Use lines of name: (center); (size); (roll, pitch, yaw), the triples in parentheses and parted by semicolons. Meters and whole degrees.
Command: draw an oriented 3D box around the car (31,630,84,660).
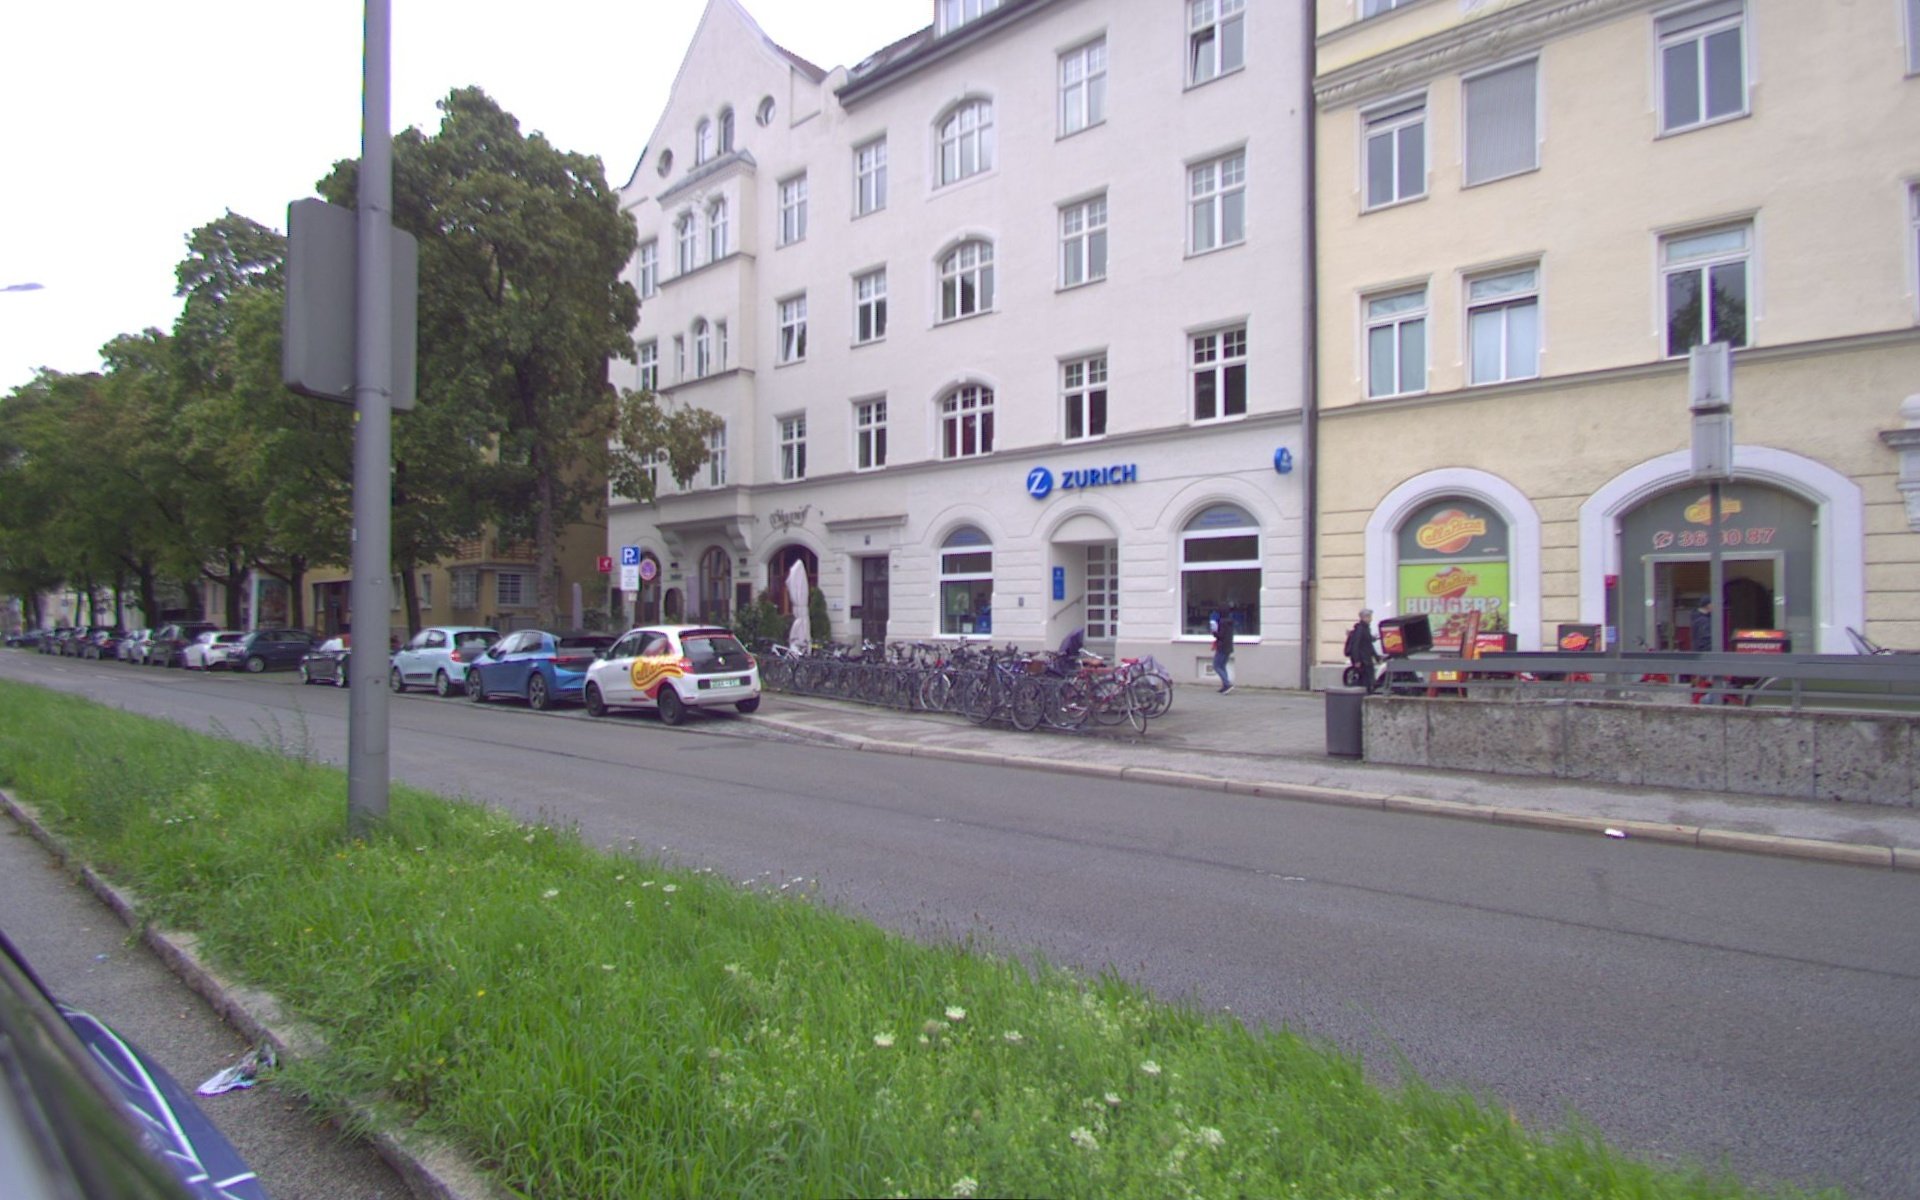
car: (-54.202, 2.688, 60.768); (4.436, 1.700, 1.854); (-2, -2, 41)

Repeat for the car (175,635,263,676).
car: (-27.130, 1.989, 37.006); (4.402, 1.413, 1.708); (-2, -2, 41)

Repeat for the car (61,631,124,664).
car: (-45.596, 2.469, 53.166); (4.768, 1.658, 1.859); (-2, -2, 41)

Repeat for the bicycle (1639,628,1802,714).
bicycle: (9.286, 0.846, 12.393); (1.544, 0.988, 0.468); (-2, -2, 42)

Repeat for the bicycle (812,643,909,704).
bicycle: (-1.895, 1.376, 19.163); (1.859, 1.124, 0.328); (-1, -2, 18)

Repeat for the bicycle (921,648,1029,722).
bicycle: (0.224, 1.313, 15.808); (1.667, 1.124, 0.328); (-1, -2, 18)

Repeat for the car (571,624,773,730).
car: (-5.003, 1.228, 17.335); (3.790, 1.597, 1.631); (-2, -2, 43)

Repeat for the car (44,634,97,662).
car: (-50.359, 2.696, 57.282); (4.490, 1.465, 1.674); (-2, -2, 41)

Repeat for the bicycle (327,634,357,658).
bicycle: (-31.635, 2.351, 51.833); (1.930, 1.231, 0.762); (-2, -2, 41)

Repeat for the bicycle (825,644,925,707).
bicycle: (-1.577, 1.373, 18.643); (1.859, 1.124, 0.328); (-1, -2, 18)

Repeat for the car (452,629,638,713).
car: (-8.480, 1.356, 20.533); (4.289, 1.518, 1.792); (-2, -2, 41)

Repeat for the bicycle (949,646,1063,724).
bicycle: (0.691, 1.262, 15.188); (1.667, 1.124, 0.365); (-1, -2, 18)

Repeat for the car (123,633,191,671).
car: (-34.678, 2.225, 43.697); (3.007, 1.569, 1.709); (-2, -2, 39)

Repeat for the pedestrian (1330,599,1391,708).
pedestrian: (6.440, 0.843, 16.289); (0.769, 1.710, 0.537); (-2, -2, 39)

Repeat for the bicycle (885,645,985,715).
bicycle: (-0.422, 1.320, 16.896); (1.667, 1.124, 0.328); (-1, -2, 18)

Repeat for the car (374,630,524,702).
car: (-12.028, 1.474, 23.734); (3.958, 1.518, 1.792); (-2, -2, 41)

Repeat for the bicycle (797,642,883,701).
bicycle: (-2.348, 1.382, 19.741); (1.664, 1.124, 0.329); (-1, -2, 14)

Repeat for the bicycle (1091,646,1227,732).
bicycle: (2.718, 1.202, 13.859); (1.799, 1.124, 0.394); (-1, -2, 18)

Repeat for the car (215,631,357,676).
car: (-23.718, 1.853, 35.726); (1.731, 1.475, 3.850); (-2, -2, 39)

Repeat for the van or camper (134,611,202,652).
van or camper: (-52.412, 2.081, 66.906); (6.848, 2.599, 2.321); (-2, -2, 41)

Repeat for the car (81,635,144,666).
car: (-41.628, 2.444, 49.673); (4.361, 1.416, 1.708); (-2, -2, 41)

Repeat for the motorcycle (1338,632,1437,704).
motorcycle: (7.316, 1.134, 17.431); (0.600, 1.139, 1.991); (0, -1, -9)

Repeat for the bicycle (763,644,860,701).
bicycle: (-2.976, 1.451, 20.378); (1.860, 1.124, 0.548); (-1, -2, 10)

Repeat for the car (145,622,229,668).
car: (-31.219, 1.773, 40.814); (4.765, 1.741, 1.791); (-2, -2, 41)

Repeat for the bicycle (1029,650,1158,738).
bicycle: (1.769, 1.236, 13.499); (1.667, 1.124, 0.328); (-1, -2, 18)

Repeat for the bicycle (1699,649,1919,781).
bicycle: (7.906, 1.022, 9.252); (1.808, 1.124, 0.392); (-1, -2, 33)

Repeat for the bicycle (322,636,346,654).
bicycle: (-33.162, 2.371, 53.587); (1.930, 0.906, 0.536); (-2, -2, 41)

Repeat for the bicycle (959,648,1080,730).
bicycle: (0.832, 1.240, 14.322); (1.667, 1.124, 0.366); (-1, -2, 18)

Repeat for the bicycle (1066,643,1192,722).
bicycle: (2.492, 1.203, 14.959); (1.799, 1.124, 0.394); (-1, -2, 18)

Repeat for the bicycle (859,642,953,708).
bicycle: (-0.960, 1.323, 18.004); (1.667, 1.124, 0.328); (-1, -2, 18)

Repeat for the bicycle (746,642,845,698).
bicycle: (-3.413, 1.450, 20.981); (1.967, 1.124, 0.503); (-1, -2, 10)

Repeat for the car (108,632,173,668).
car: (-37.924, 2.270, 46.812); (4.055, 1.573, 1.708); (-2, -2, 41)

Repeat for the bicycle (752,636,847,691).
bicycle: (-3.393, 1.340, 21.448); (1.944, 1.124, 0.457); (-1, -2, 10)

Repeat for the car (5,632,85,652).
car: (-67.159, 3.066, 74.330); (3.931, 1.386, 1.867); (-1, -2, -18)

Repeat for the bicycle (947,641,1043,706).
bicycle: (0.619, 1.293, 17.985); (1.667, 1.124, 0.328); (-1, -2, 18)

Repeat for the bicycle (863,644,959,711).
bicycle: (-0.854, 1.330, 17.530); (1.667, 1.124, 0.328); (-1, -2, 18)

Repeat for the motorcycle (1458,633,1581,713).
motorcycle: (8.806, 1.115, 16.033); (0.600, 1.130, 1.991); (0, -1, -9)

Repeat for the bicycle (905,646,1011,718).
bicycle: (-0.036, 1.304, 16.280); (1.667, 1.124, 0.380); (-1, -2, 18)

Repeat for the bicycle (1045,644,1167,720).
bicycle: (2.236, 1.239, 15.514); (1.799, 1.124, 0.394); (-1, -2, 18)

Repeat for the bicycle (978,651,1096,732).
bicycle: (1.103, 1.302, 14.644); (1.667, 1.124, 0.328); (-1, -2, 18)

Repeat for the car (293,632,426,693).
car: (-16.389, 1.632, 27.521); (4.643, 1.518, 1.791); (-2, -2, 41)

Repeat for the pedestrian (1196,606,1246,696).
pedestrian: (4.851, 0.939, 18.809); (0.416, 1.644, 0.784); (1, -2, -43)

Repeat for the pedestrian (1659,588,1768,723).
pedestrian: (9.820, 0.709, 13.215); (0.936, 1.710, 0.590); (-1, -2, 14)
